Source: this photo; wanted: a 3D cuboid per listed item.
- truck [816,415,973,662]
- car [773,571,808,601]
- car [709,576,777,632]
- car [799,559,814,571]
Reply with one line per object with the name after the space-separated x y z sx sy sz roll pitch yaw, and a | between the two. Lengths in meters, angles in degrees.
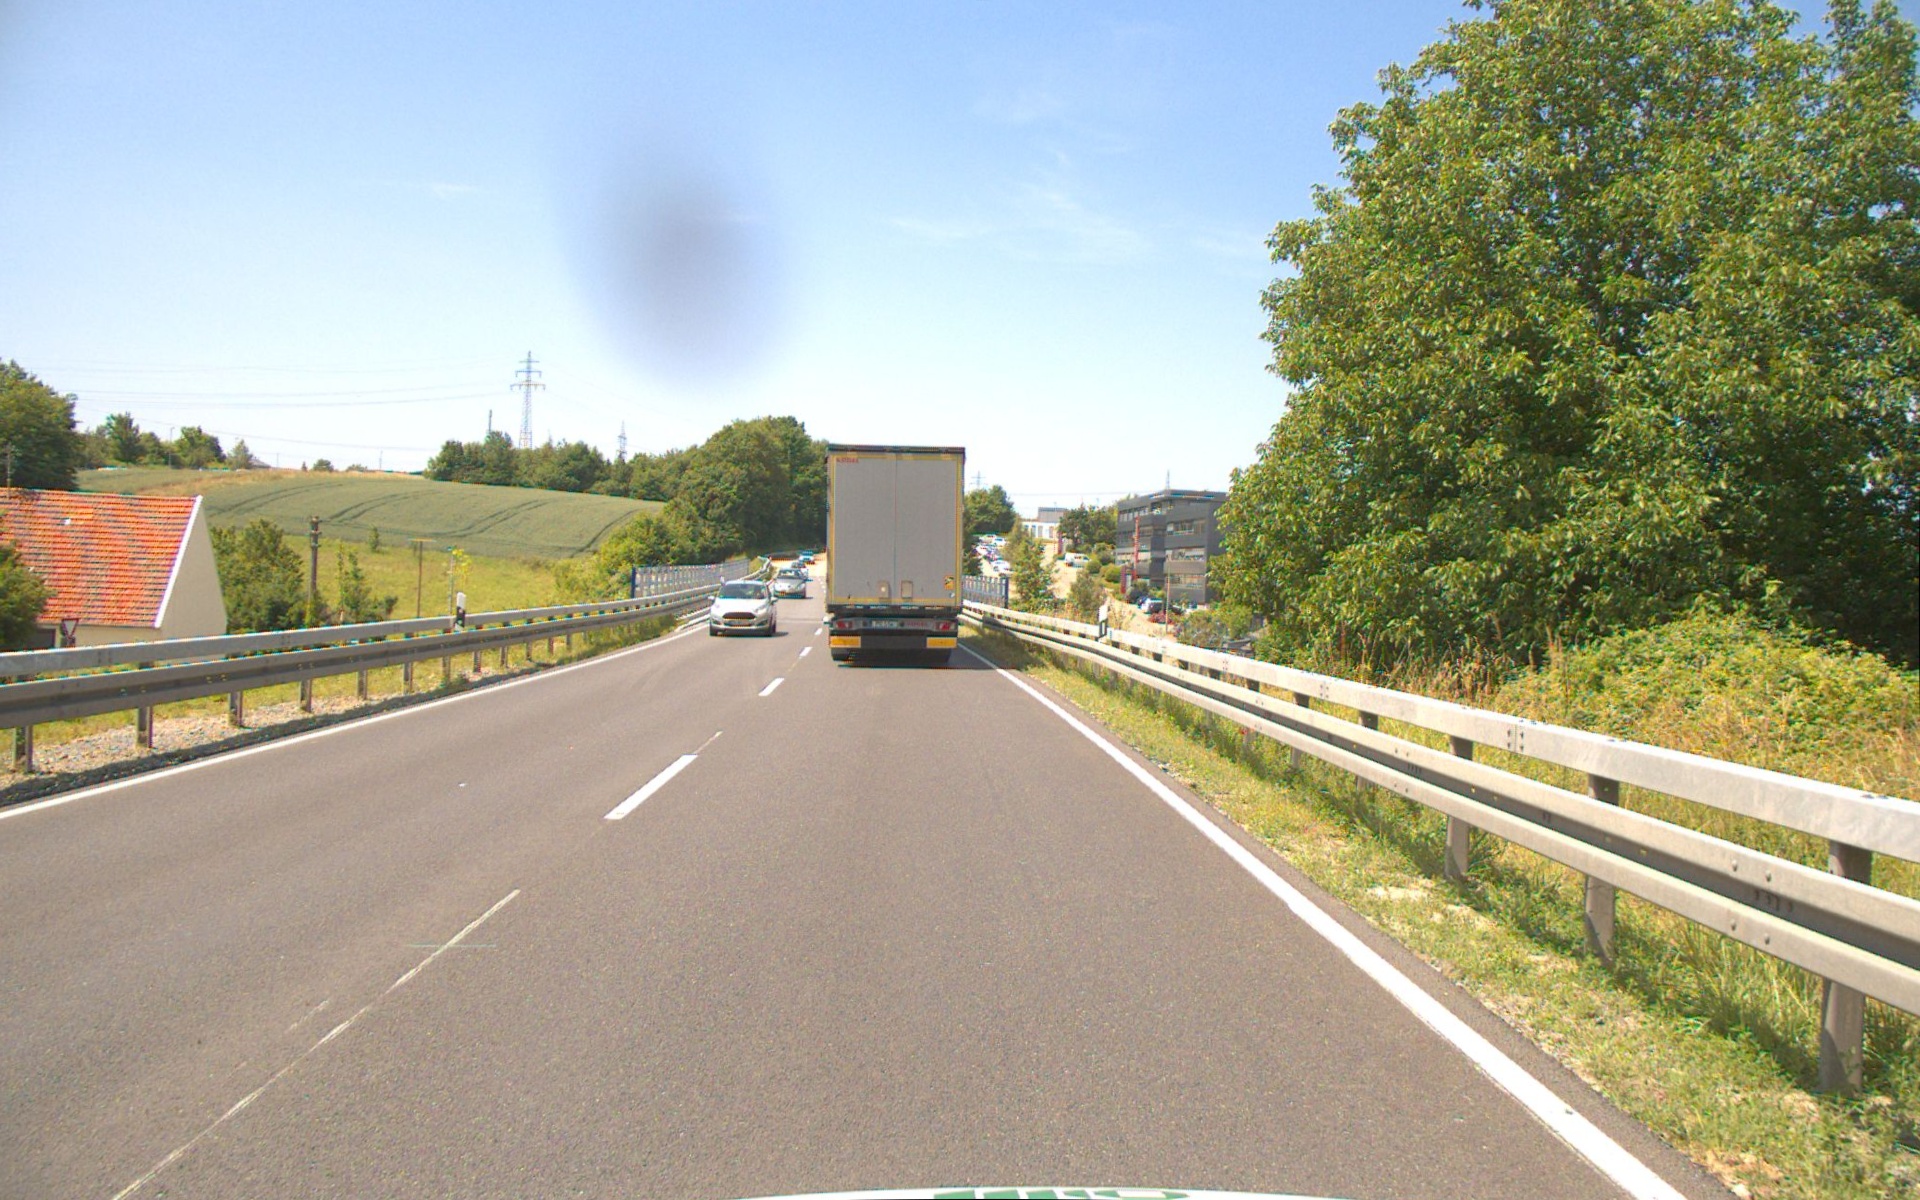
-1.492 -1.125 34.738 2.809 4.435 9.781 0 0 -4 | truck
-9.329 -0.795 91.462 1.771 1.617 4.376 0 1 -4 | car
-5.953 0.068 45.783 1.614 1.466 4.155 0 1 -4 | car
-18.565 -4.226 199.716 1.747 1.460 4.829 1 1 -6 | car
